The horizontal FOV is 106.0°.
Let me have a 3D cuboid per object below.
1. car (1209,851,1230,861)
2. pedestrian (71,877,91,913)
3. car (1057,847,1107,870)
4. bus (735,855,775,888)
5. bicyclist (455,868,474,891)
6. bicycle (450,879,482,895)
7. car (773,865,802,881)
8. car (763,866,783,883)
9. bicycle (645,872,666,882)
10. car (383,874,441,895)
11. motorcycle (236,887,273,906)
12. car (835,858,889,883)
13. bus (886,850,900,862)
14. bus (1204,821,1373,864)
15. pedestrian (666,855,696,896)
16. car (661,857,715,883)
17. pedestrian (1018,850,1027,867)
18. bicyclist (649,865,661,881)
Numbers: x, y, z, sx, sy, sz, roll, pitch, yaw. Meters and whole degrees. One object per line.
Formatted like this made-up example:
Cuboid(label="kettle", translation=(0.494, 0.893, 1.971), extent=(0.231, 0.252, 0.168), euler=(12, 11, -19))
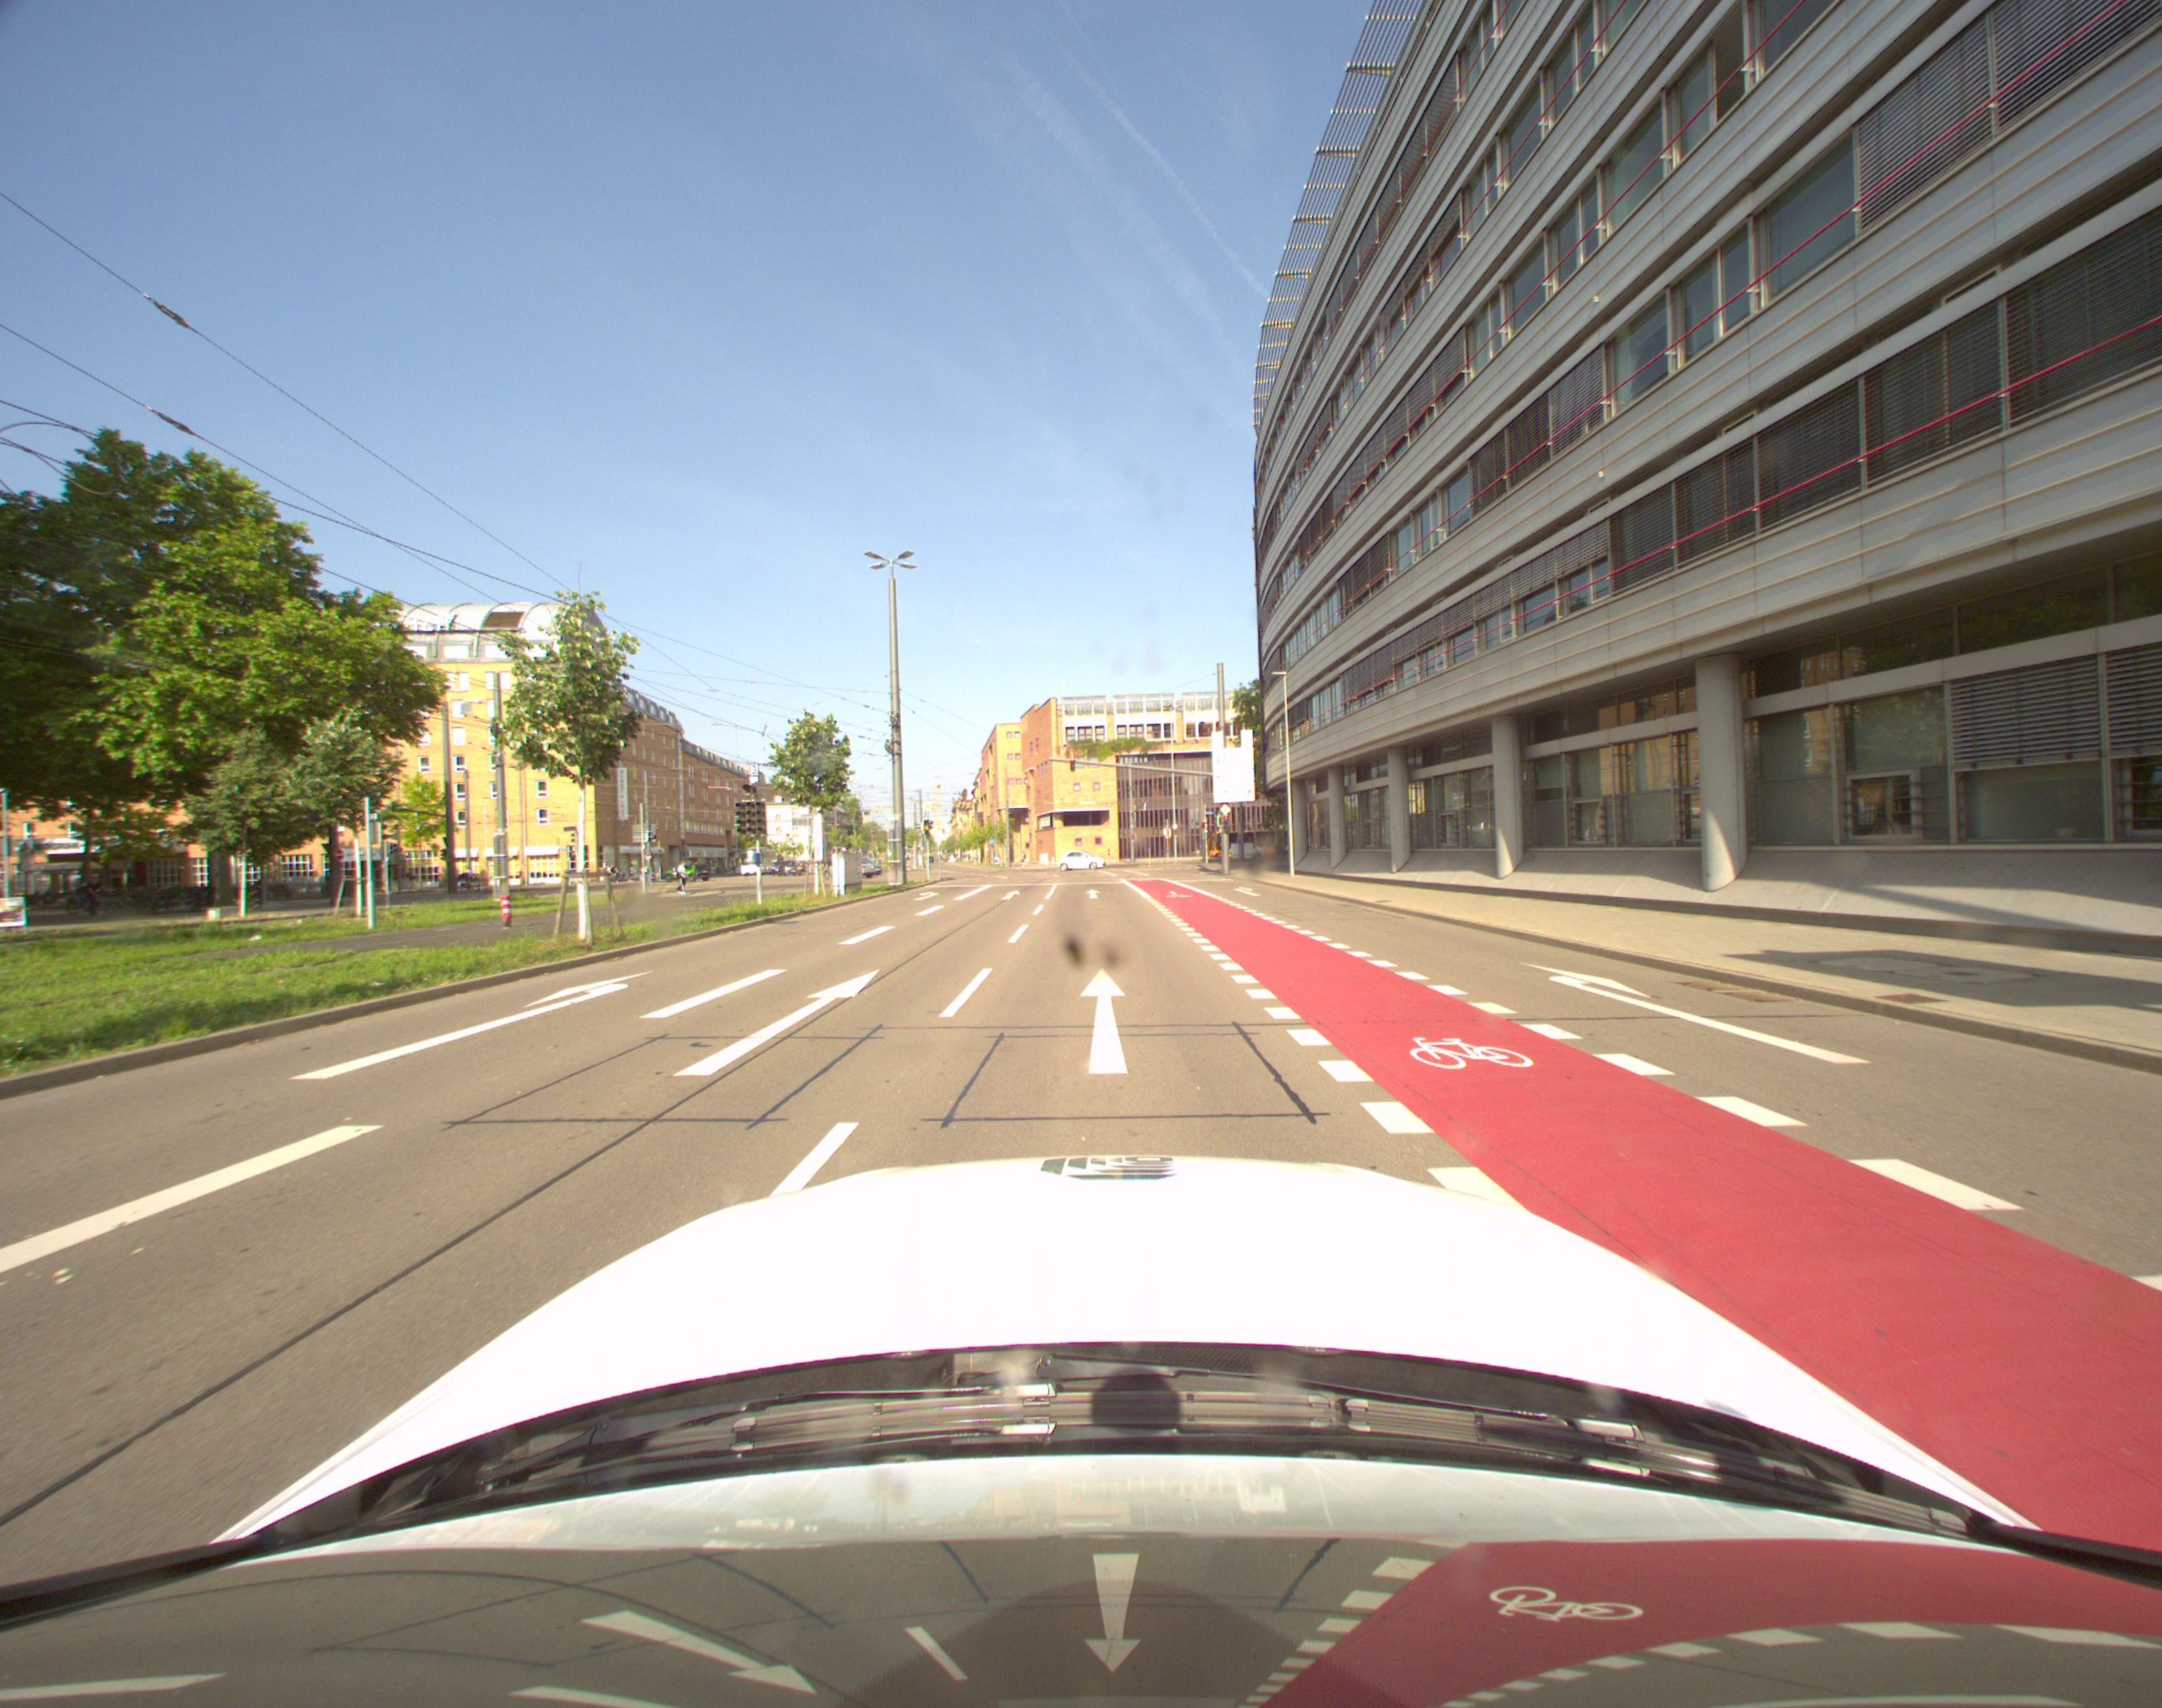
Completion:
Cuboid(label="car", translation=(13.631, 0.195, 80.146), extent=(1.946, 0.958, 1.093), euler=(0, -2, -2))
Cuboid(label="pedestrian", translation=(-57.124, 2.313, 46.513), extent=(0.489, 2.014, 0.538), euler=(-2, -2, -8))
Cuboid(label="car", translation=(0.078, 0.349, 61.970), extent=(3.411, 1.542, 1.742), euler=(-2, -1, 14))
Cuboid(label="bus", translation=(-42.602, 2.335, 106.773), extent=(2.749, 3.921, 12.163), euler=(-2, -1, -12))
Cuboid(label="bicyclist", translation=(-47.735, 1.994, 63.028), extent=(0.661, 1.747, 0.969), euler=(-2, -1, 5))
Cuboid(label="bicycle", translation=(-47.689, 2.543, 63.139), extent=(0.546, 1.206, 2.291), euler=(-2, -1, 6))
Cuboid(label="car", translation=(-28.801, 1.889, 79.917), extent=(1.710, 1.492, 3.564), euler=(-3, 0, -35))
Cuboid(label="car", translation=(-34.218, 2.259, 90.624), extent=(1.993, 1.635, 4.383), euler=(-2, 1, -21))
Cuboid(label="bicycle", translation=(-45.746, 2.434, 87.540), extent=(1.964, 0.970, 0.418), euler=(-2, -1, -16))
Cuboid(label="car", translation=(-60.752, 2.766, 74.005), extent=(3.609, 1.623, 1.863), euler=(-2, 0, -8))
Cuboid(label="motorcycle", translation=(-48.017, 2.461, 47.306), extent=(1.689, 0.995, 0.283), euler=(-2, -1, -8))
Cuboid(label="car", translation=(-16.828, 1.271, 62.552), extent=(3.840, 1.755, 1.721), euler=(-3, -1, 29))
Cuboid(label="bus", translation=(-33.070, 0.335, 143.279), extent=(1.999, 2.013, 3.975), euler=(-2, 0, -19))
Cuboid(label="bus", translation=(21.836, -1.208, 85.690), extent=(17.615, 3.810, 2.854), euler=(-2, -1, -11))
Cuboid(label="pedestrian", translation=(-20.408, 1.105, 41.581), extent=(1.156, 2.014, 0.773), euler=(-2, -2, -12))
Cuboid(label="car", translation=(-34.008, 1.391, 70.497), extent=(3.952, 2.014, 2.011), euler=(-3, -1, 23))
Cuboid(label="pedestrian", translation=(-7.056, 0.593, 97.986), extent=(0.834, 2.013, 0.813), euler=(-2, 0, 14))
Cuboid(label="bicyclist", translation=(-45.751, 2.071, 87.548), extent=(0.988, 1.695, 0.667), euler=(-2, -2, -16))
